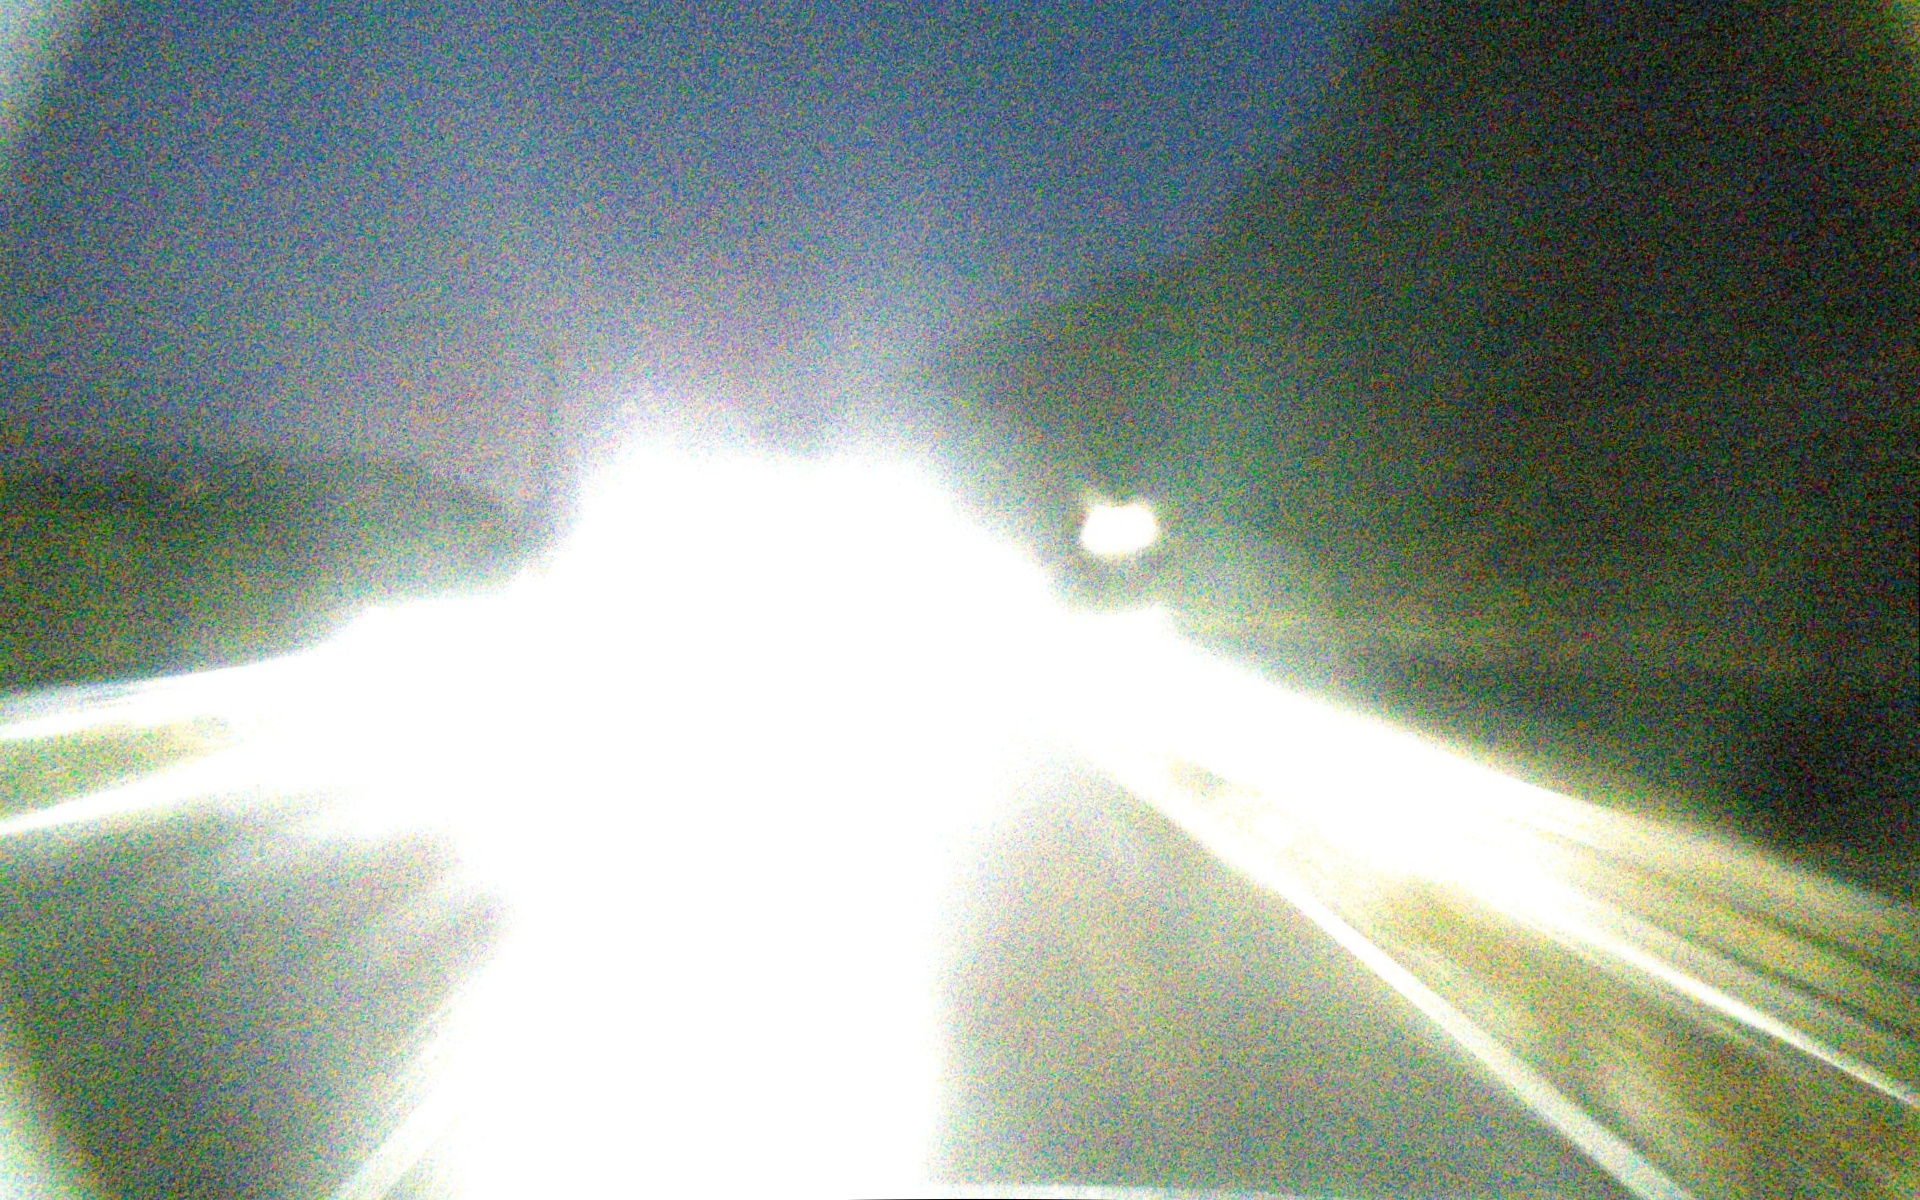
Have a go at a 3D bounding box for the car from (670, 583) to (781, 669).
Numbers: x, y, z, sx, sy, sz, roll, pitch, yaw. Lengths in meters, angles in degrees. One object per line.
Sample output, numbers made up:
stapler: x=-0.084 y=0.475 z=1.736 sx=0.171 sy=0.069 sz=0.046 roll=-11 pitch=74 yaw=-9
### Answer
car: x=-4.424 y=0.462 z=31.614 sx=1.667 sy=1.532 sz=3.682 roll=1 pitch=0 yaw=-2

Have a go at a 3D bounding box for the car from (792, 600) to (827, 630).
car: x=-7.903 y=0.754 z=87.129 sx=1.797 sy=1.508 sz=4.065 roll=1 pitch=0 yaw=-5

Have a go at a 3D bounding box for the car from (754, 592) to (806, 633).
car: x=-6.974 y=0.471 z=64.318 sx=1.796 sy=1.508 sz=4.349 roll=1 pitch=0 yaw=-4
